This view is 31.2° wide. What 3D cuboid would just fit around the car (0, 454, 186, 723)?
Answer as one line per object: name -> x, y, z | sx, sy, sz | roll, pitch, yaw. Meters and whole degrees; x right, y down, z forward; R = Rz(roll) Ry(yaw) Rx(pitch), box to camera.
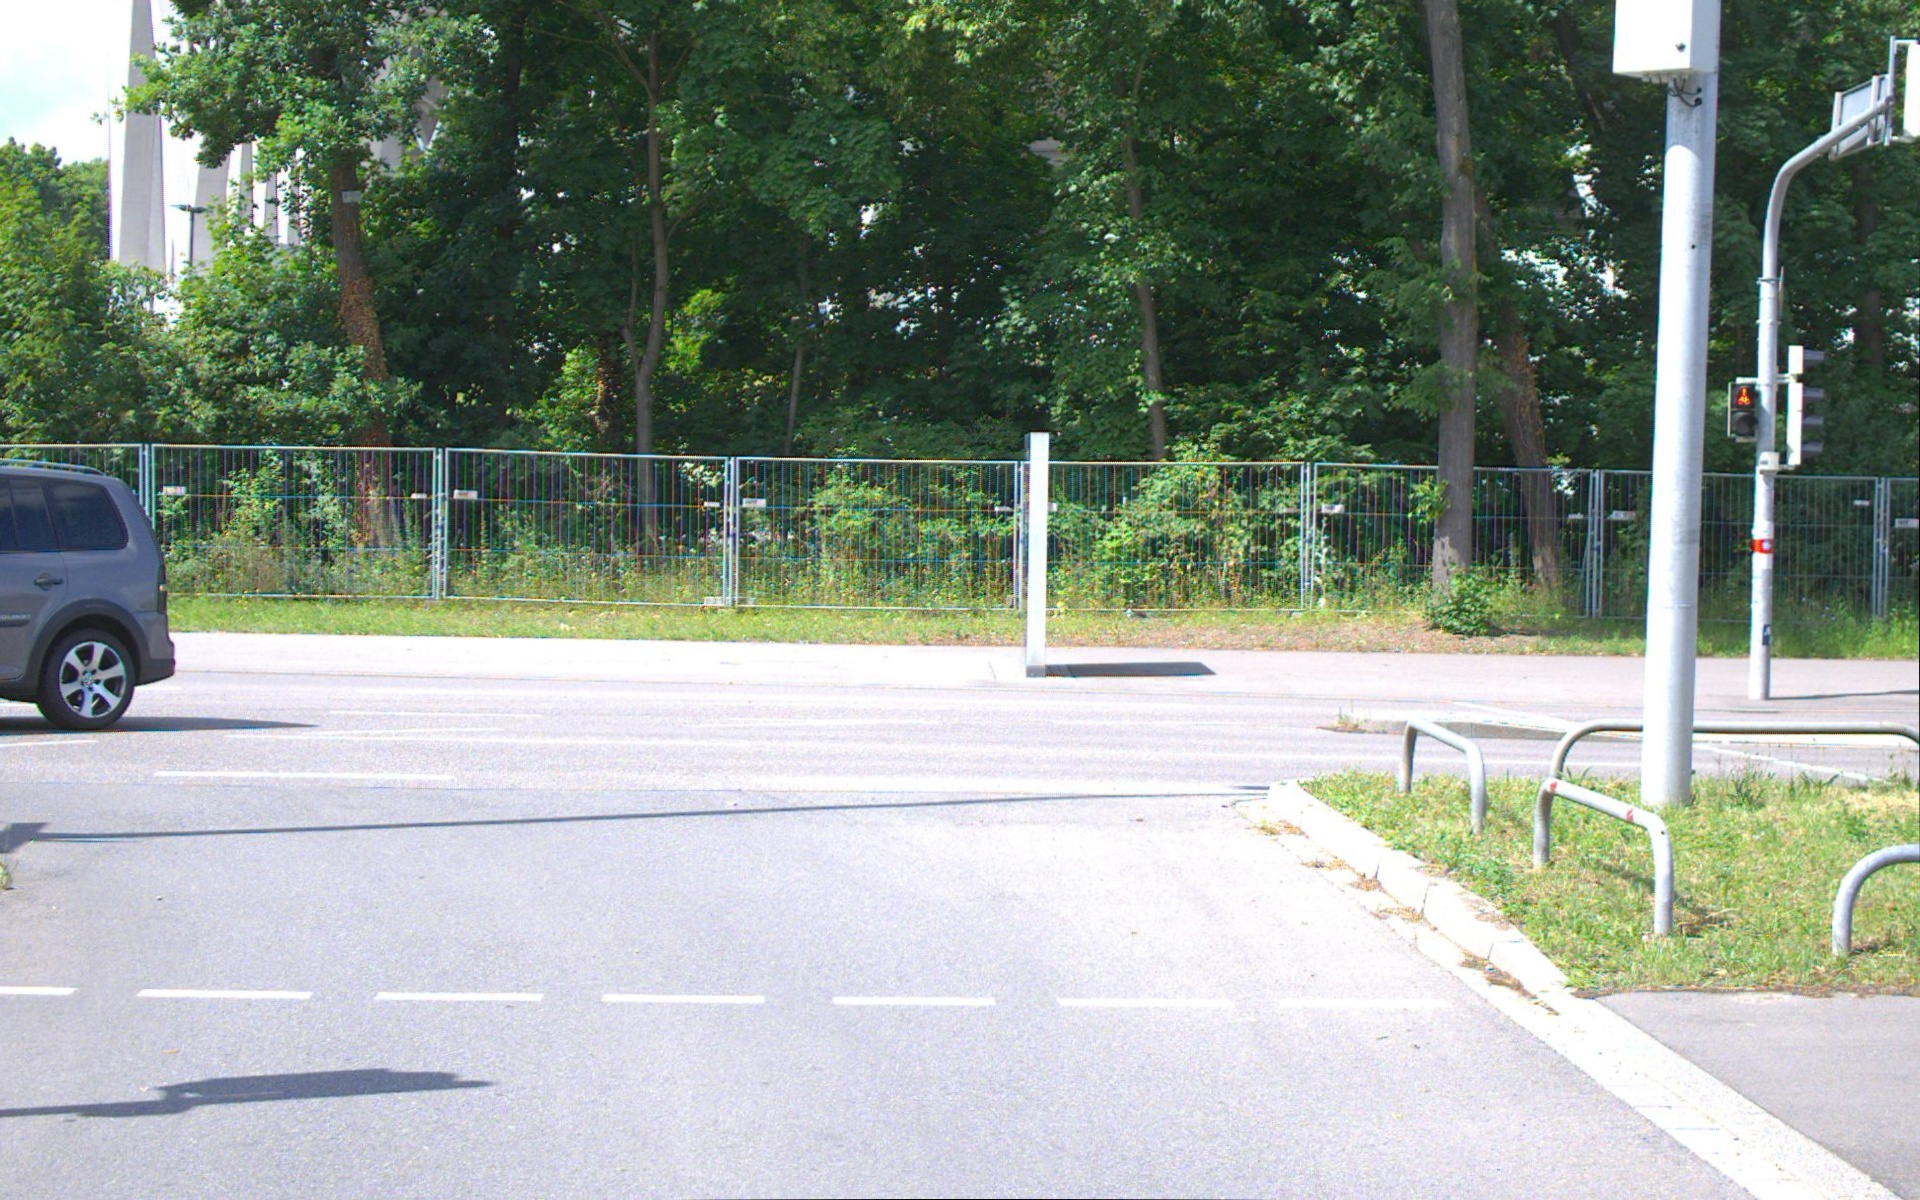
car -> -7.018, -0.077, 20.769 | 1.766, 1.624, 4.288 | 2, 2, 45
